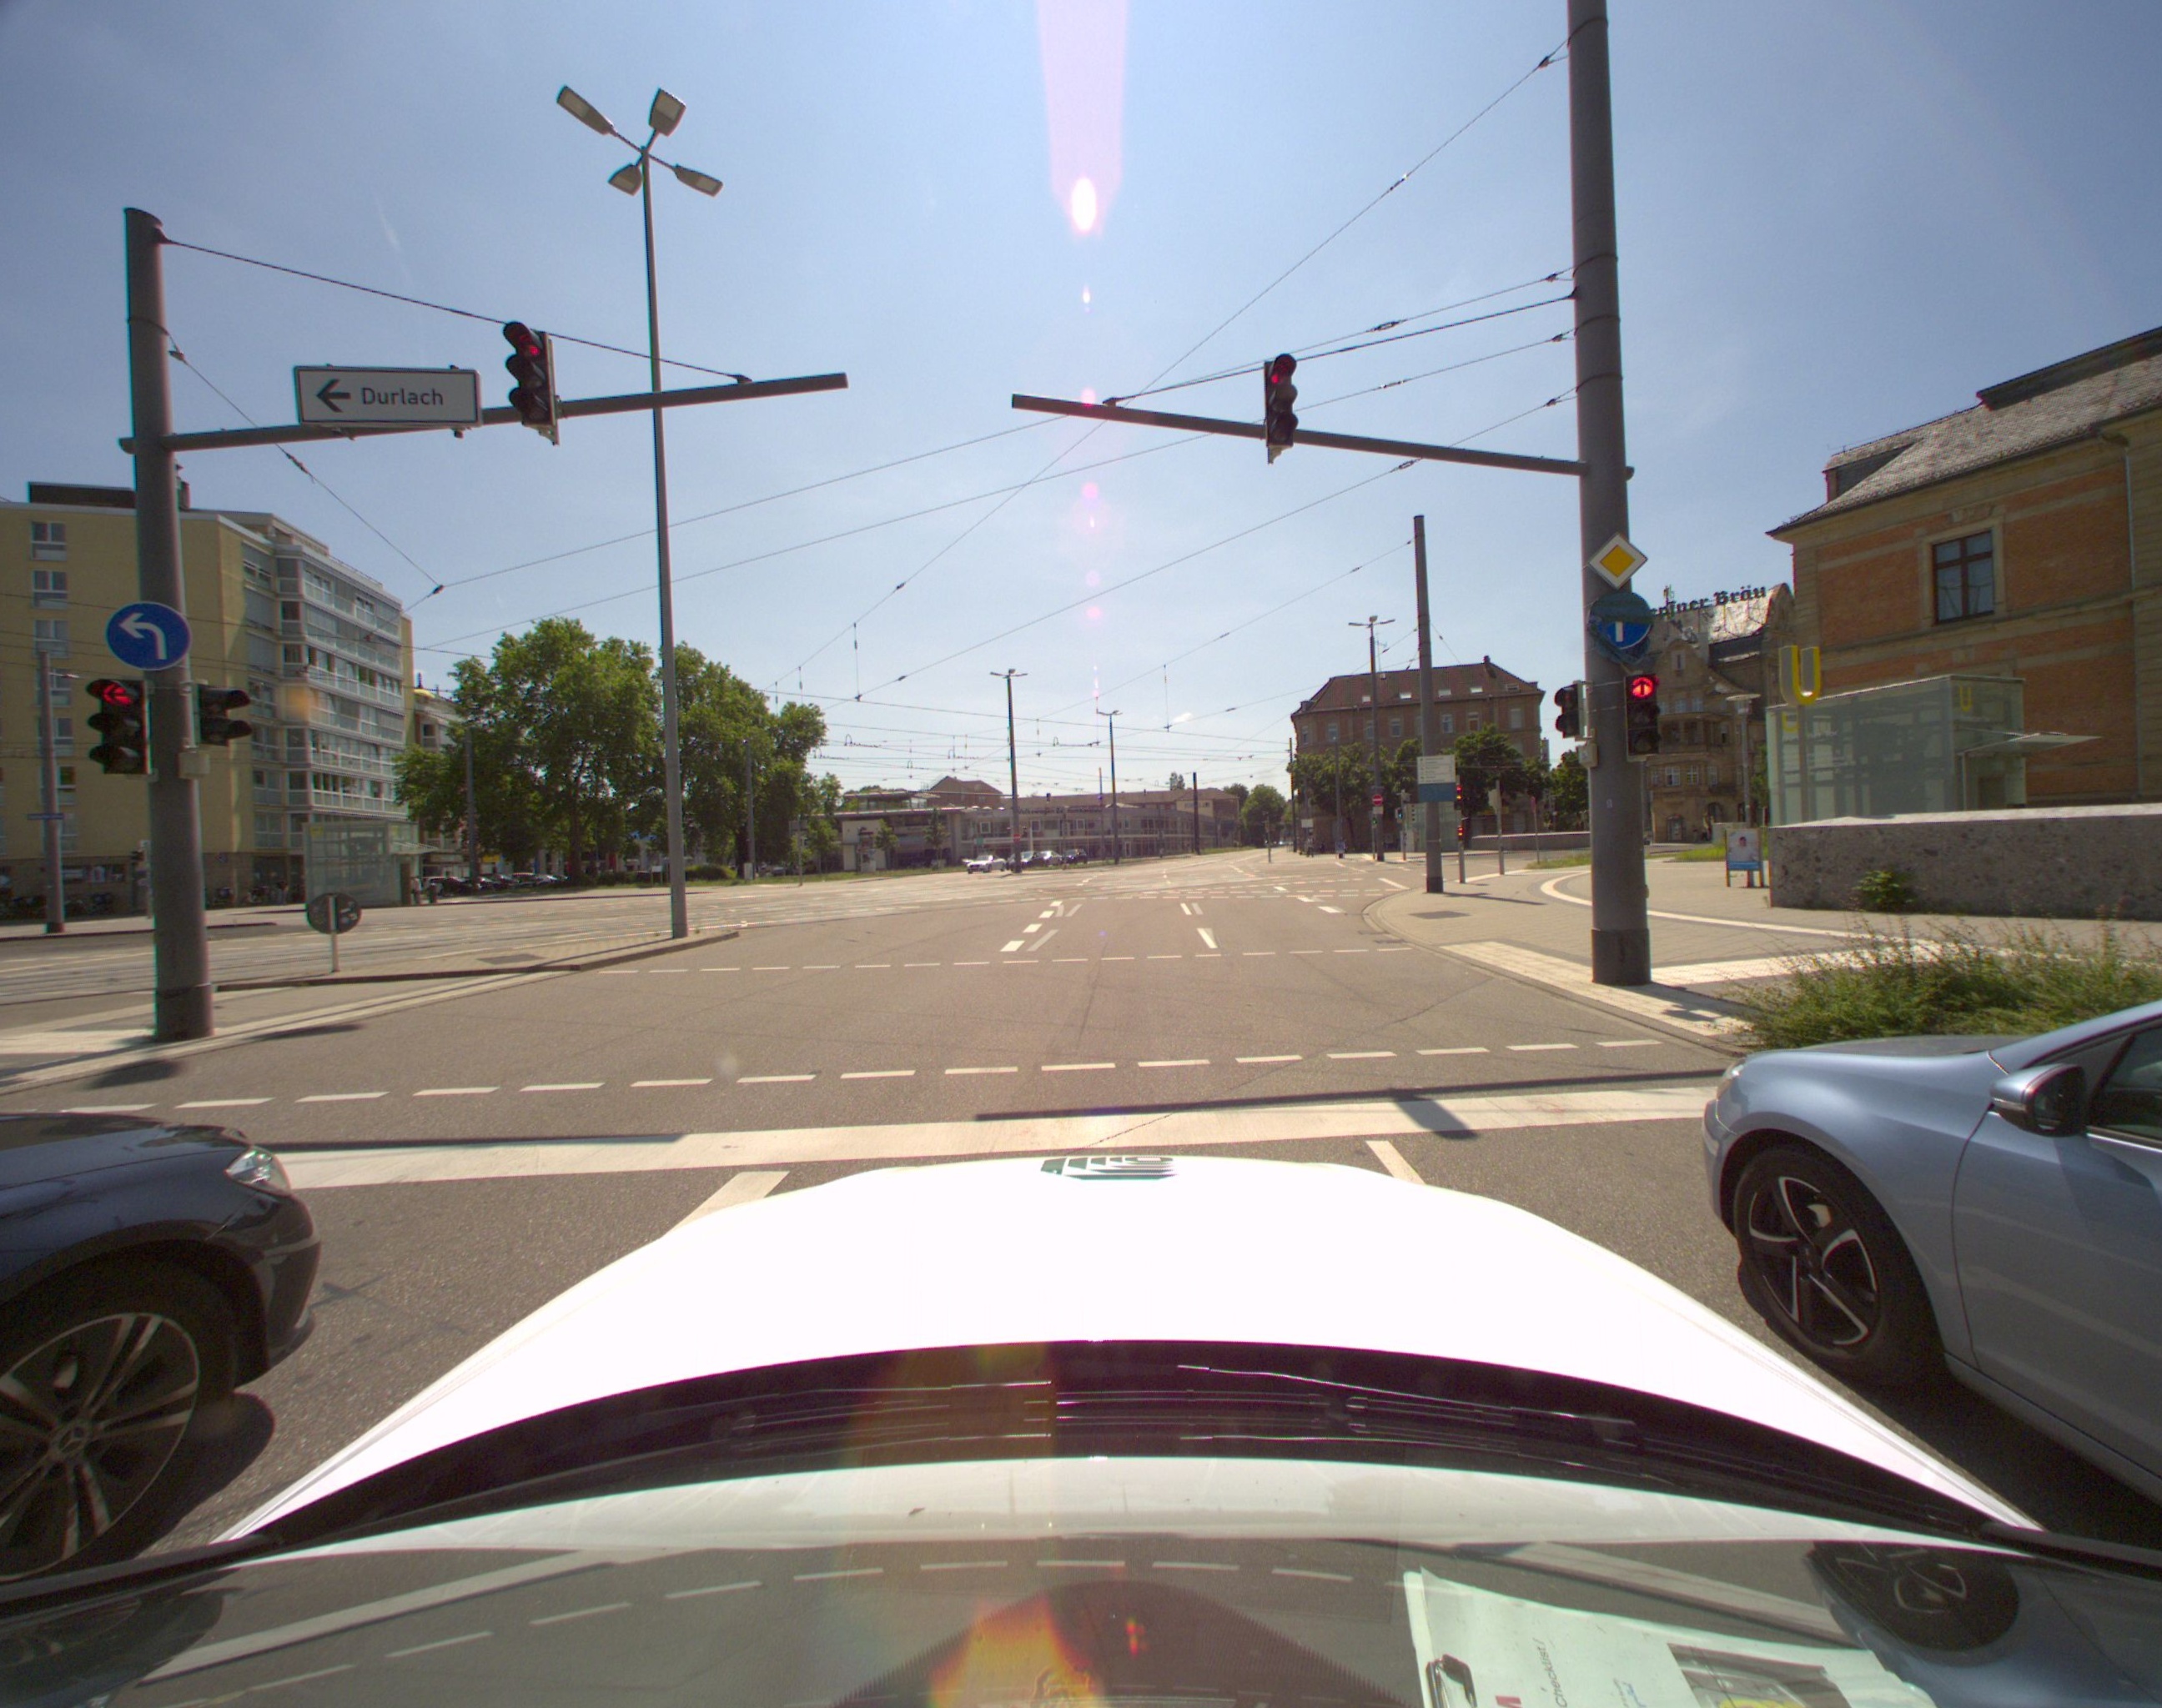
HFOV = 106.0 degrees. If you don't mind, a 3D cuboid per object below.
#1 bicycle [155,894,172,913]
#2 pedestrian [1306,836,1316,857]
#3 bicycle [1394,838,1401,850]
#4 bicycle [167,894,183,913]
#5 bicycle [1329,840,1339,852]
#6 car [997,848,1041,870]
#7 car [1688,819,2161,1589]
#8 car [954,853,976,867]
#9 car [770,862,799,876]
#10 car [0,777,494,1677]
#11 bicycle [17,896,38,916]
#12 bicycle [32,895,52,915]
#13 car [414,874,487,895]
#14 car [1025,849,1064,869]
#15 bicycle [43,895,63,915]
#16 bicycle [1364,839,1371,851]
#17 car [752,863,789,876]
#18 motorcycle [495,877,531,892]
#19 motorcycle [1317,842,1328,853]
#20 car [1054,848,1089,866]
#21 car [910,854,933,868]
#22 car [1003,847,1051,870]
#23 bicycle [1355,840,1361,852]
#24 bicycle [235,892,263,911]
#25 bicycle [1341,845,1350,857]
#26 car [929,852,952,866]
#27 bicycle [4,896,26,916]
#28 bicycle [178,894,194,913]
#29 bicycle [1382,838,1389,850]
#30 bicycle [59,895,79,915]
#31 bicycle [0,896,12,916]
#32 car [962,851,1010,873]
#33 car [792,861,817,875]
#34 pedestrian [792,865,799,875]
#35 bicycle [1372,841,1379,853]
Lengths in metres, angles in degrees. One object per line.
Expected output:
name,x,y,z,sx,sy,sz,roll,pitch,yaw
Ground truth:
bicycle,-51.682,2.785,45.880,0.435,1.026,1.426,-2,0,-42
pedestrian,19.164,-0.647,67.960,0.463,1.708,0.635,-2,0,-24
bicycle,30.473,-0.962,78.406,0.546,1.120,1.938,-2,0,18
bicycle,-51.217,2.783,46.049,0.435,1.026,1.426,-2,0,-42
bicycle,24.443,-0.740,78.722,0.548,1.120,1.824,-2,0,7
car,-5.313,0.421,70.628,1.977,1.700,4.870,-2,0,19
car,2.838,0.657,0.758,1.645,1.459,4.005,-1,0,1
car,-14.351,0.792,100.899,1.913,1.707,4.002,0,-1,2
car,-37.412,1.867,102.783,1.760,1.510,4.330,-2,0,3
car,-2.928,0.697,0.278,1.790,1.640,4.808,-1,0,3
bicycle,-57.396,2.813,44.371,0.435,1.026,1.426,-2,0,-42
bicycle,-56.908,2.811,44.607,0.435,1.026,1.426,-2,0,-42
car,-49.037,2.351,63.424,4.000,1.420,1.987,-2,0,-20
car,-3.387,0.435,76.493,1.977,1.739,4.565,-2,0,19
bicycle,-56.402,2.808,44.681,0.435,1.026,1.426,-2,0,-42
bicycle,27.402,-0.865,78.000,0.546,1.120,1.829,-2,0,18
car,-41.317,2.003,108.331,4.343,1.510,1.754,-3,0,-33
motorcycle,-38.789,2.072,55.641,1.925,0.961,0.521,-2,0,-29
motorcycle,23.338,-0.643,78.785,0.577,1.074,1.949,-2,0,6
car,-0.935,0.300,83.332,2.061,1.682,4.870,-2,0,19
car,-19.691,0.830,100.714,1.913,1.707,4.002,0,-1,2
car,-4.225,0.357,64.769,1.977,1.637,4.870,-2,0,19
bicycle,26.622,-0.747,78.245,0.546,1.120,1.829,-2,0,18
bicycle,-49.267,2.790,48.211,0.432,1.026,1.437,-2,0,-14
bicycle,25.584,-0.271,78.779,0.440,1.146,2.099,-1,-1,9
car,-17.317,0.615,100.679,1.913,1.707,4.002,0,-1,2
bicycle,-57.852,2.815,44.213,0.435,1.026,1.426,-2,0,-42
bicycle,-50.794,2.782,46.237,0.435,1.026,1.426,-2,0,-42
bicycle,29.285,-0.924,78.274,0.546,1.120,1.879,-2,0,18
bicycle,-55.904,2.808,45.001,0.435,1.026,1.426,-2,0,-42
bicycle,-58.451,2.818,44.062,0.435,1.026,1.426,-2,0,-42
car,-7.468,0.609,64.535,2.061,1.580,4.866,-2,0,15
car,-34.617,1.747,102.138,1.763,1.510,4.322,-2,0,-3
pedestrian,-34.614,1.961,98.712,0.510,1.204,0.446,-2,0,7
bicycle,28.154,-0.657,77.847,0.546,1.120,1.898,-2,0,18
